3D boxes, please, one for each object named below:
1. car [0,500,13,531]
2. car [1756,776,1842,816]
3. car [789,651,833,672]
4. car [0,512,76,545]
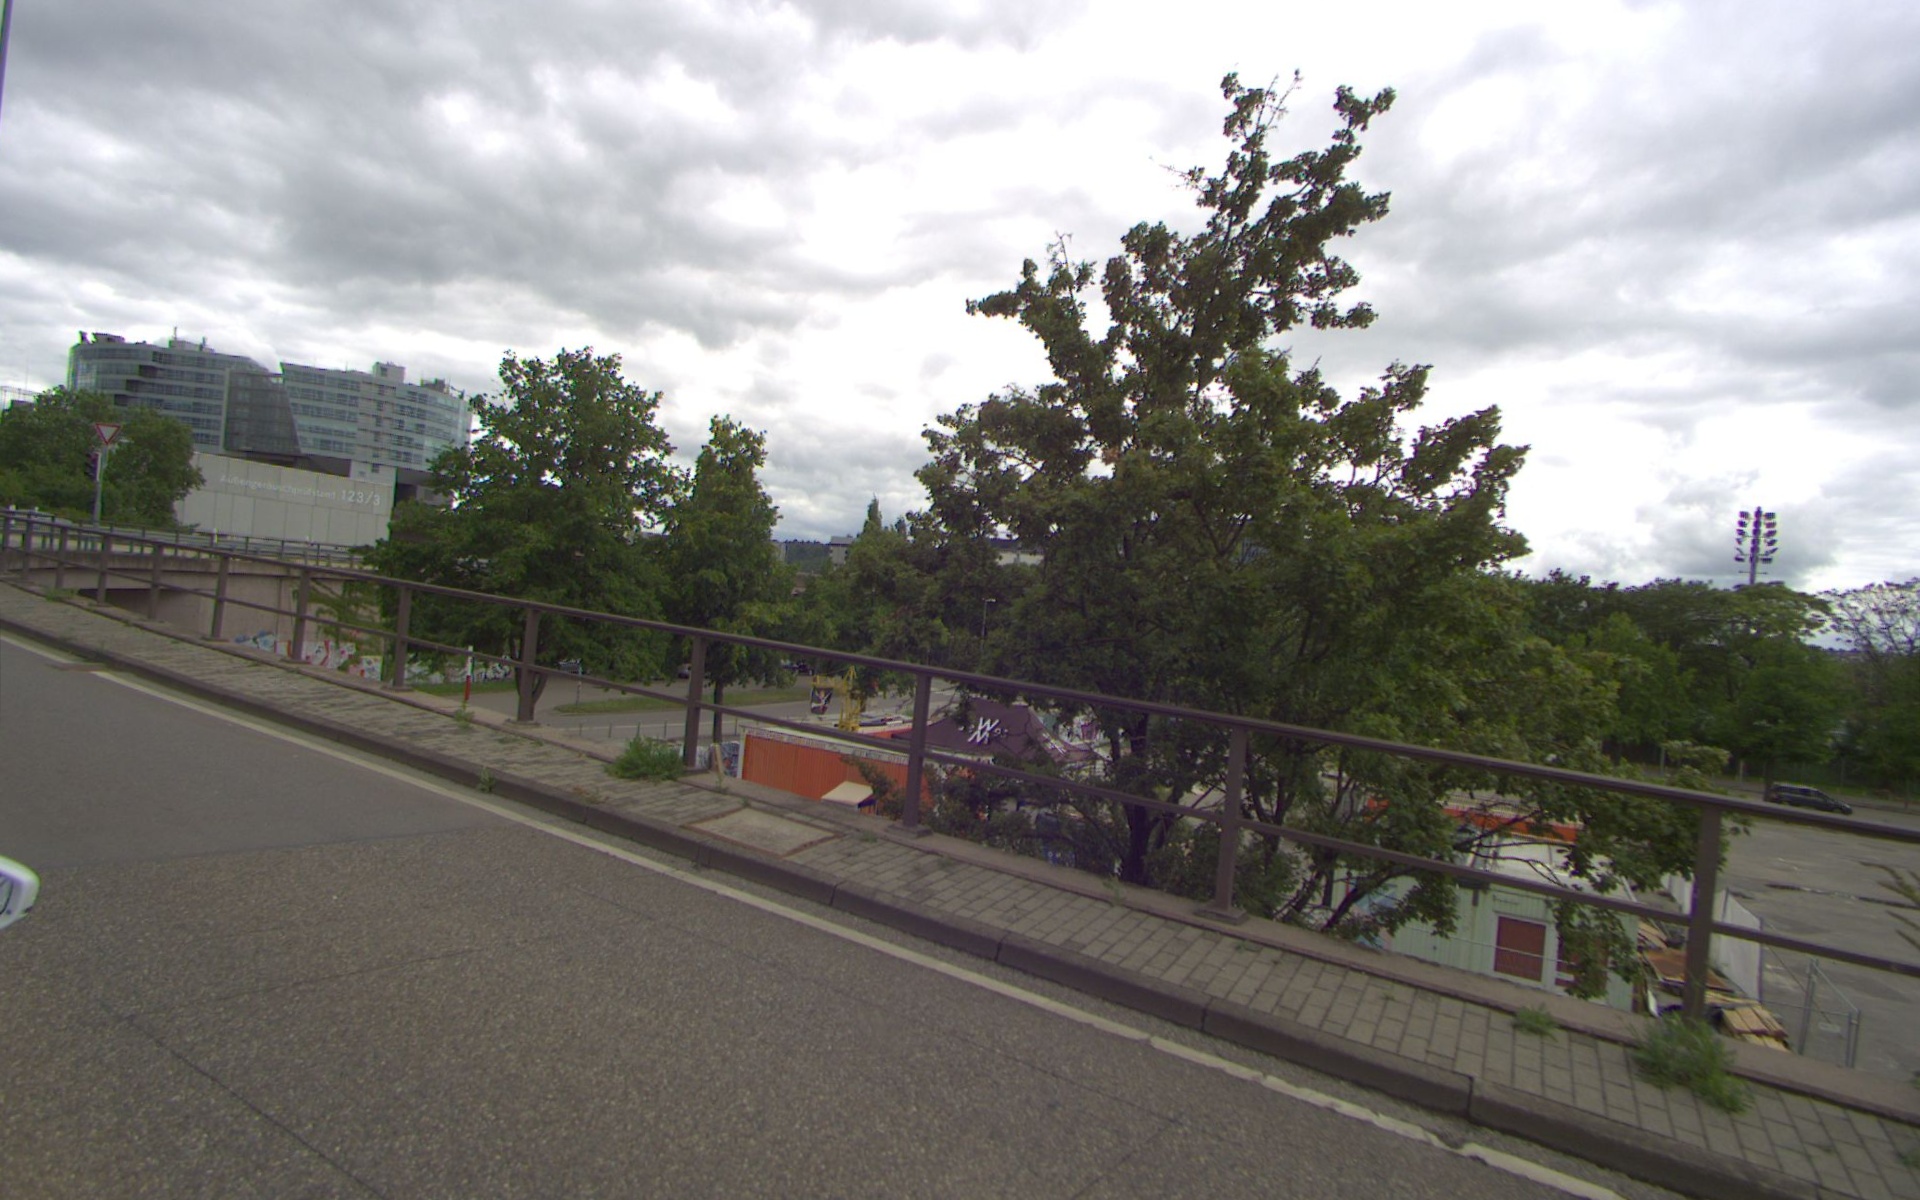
[{"bbox_3d":[-49.485,-4.466,48.868,1.922,1.474,4.615,7,-1,29],"label":"car"},{"bbox_3d":[55.407,12.921,66.521,3.931,1.834,2.002,6,-5,29],"label":"car"},{"bbox_3d":[-13.033,5.414,88.404,1.794,1.553,3.996,7,0,25],"label":"car"},{"bbox_3d":[-56.358,-4.363,60.777,4.072,1.458,1.983,8,-4,-34],"label":"car"}]
